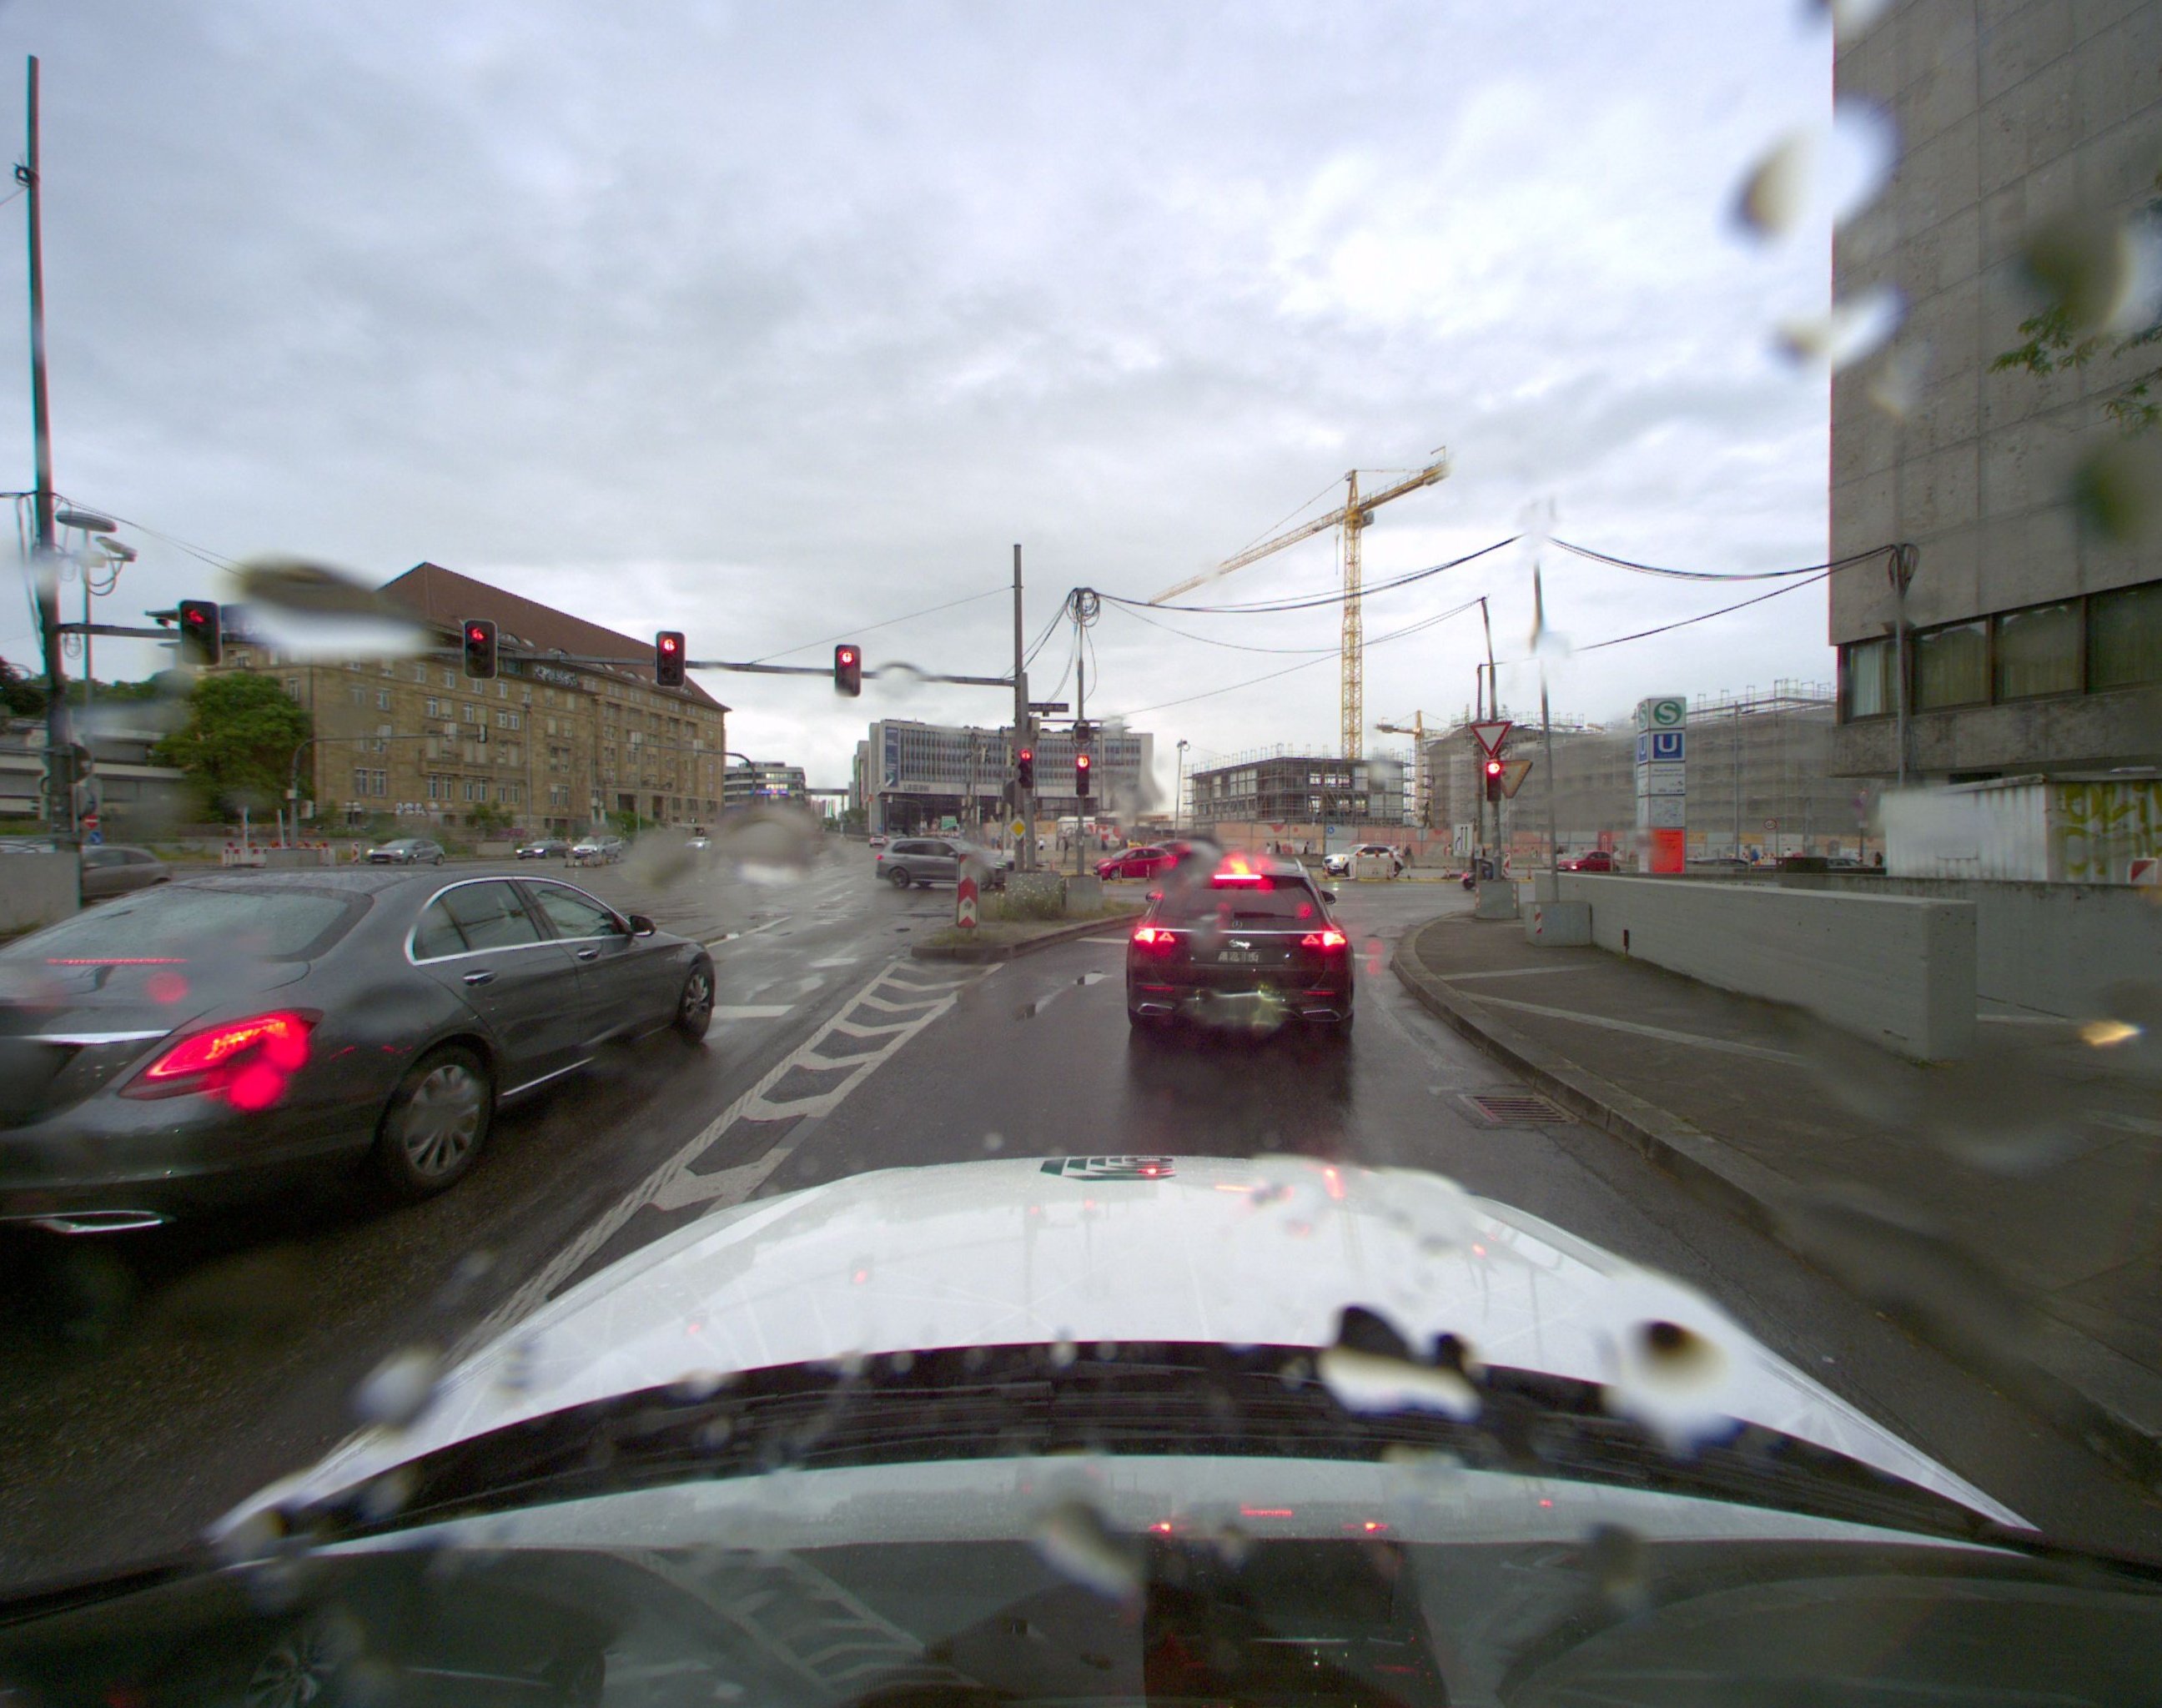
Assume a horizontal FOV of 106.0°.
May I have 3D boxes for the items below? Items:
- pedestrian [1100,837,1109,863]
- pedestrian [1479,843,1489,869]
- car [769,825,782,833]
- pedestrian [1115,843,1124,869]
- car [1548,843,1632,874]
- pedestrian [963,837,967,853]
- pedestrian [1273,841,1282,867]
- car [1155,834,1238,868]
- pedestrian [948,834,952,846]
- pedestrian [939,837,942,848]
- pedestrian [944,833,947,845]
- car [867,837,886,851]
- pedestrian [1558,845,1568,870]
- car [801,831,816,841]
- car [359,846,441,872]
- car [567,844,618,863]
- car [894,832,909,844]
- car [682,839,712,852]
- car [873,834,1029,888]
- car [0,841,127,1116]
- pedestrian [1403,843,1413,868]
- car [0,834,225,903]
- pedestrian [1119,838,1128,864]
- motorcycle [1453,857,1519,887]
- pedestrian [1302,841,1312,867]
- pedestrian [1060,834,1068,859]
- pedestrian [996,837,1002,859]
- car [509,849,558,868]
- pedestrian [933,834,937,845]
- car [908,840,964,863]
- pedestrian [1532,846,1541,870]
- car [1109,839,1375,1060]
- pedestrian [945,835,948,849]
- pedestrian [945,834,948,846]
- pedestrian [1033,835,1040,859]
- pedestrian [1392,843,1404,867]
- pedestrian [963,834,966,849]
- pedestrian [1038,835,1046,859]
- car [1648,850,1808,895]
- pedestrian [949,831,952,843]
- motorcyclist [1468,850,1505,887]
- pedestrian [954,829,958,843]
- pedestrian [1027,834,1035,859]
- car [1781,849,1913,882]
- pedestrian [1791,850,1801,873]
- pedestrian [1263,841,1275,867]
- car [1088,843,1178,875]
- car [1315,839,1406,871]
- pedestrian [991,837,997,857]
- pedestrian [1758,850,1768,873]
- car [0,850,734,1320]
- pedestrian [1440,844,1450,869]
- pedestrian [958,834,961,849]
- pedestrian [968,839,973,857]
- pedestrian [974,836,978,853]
[{"bbox_3d":[1.764,-0.297,60.173,0.570,1.898,0.364,0,-1,15],"label":"pedestrian"},{"bbox_3d":[29.785,0.173,60.184,0.574,1.898,0.361,1,-1,-9],"label":"pedestrian"},{"bbox_3d":[-79.751,-6.585,212.683,2.010,1.816,3.952,1,-1,-41],"label":"car"},{"bbox_3d":[2.825,0.167,59.830,0.571,1.898,0.363,0,-1,9],"label":"pedestrian"},{"bbox_3d":[29.203,0.258,46.750,3.995,1.708,1.989,1,-1,-16],"label":"car"},{"bbox_3d":[-13.693,-1.091,96.048,0.362,1.898,0.573,1,-1,-16],"label":"pedestrian"},{"bbox_3d":[14.631,0.012,60.565,0.574,1.898,0.361,1,-1,-9],"label":"pedestrian"},{"bbox_3d":[6.187,-0.142,43.793,3.993,1.734,1.990,1,-1,-15],"label":"car"},{"bbox_3d":[-20.141,-2.150,125.107,0.520,1.898,0.573,1,-1,-16],"label":"pedestrian"},{"bbox_3d":[-24.483,-1.917,141.858,0.362,1.898,0.573,1,-1,-16],"label":"pedestrian"},{"bbox_3d":[-22.375,-2.480,134.589,0.520,1.898,0.573,1,-1,-16],"label":"pedestrian"},{"bbox_3d":[-27.244,-1.308,108.426,2.002,1.640,3.970,1,-1,-23],"label":"car"},{"bbox_3d":[36.692,0.278,62.005,0.574,1.898,0.361,1,-1,-9],"label":"pedestrian"},{"bbox_3d":[-61.123,-4.068,182.613,2.009,2.014,3.955,1,-1,-38],"label":"car"},{"bbox_3d":[-36.027,0.271,43.213,1.625,1.260,3.983,1,-1,-12],"label":"car"},{"bbox_3d":[-34.853,0.000,58.215,1.768,1.260,4.178,1,-1,-11],"label":"car"},{"bbox_3d":[-26.566,-2.381,120.481,1.733,1.639,3.412,1,2,-20],"label":"car"},{"bbox_3d":[-39.169,-0.862,83.066,1.768,1.260,3.985,1,-1,-11],"label":"car"},{"bbox_3d":[-4.583,0.238,28.801,5.046,1.798,2.009,0,-1,17],"label":"car"},{"bbox_3d":[-6.747,0.651,2.509,1.883,1.515,4.995,1,-1,-4],"label":"car"},{"bbox_3d":[24.558,0.133,61.139,0.574,1.898,0.361,1,-1,-9],"label":"pedestrian"},{"bbox_3d":[-24.355,0.365,20.638,1.699,1.574,3.982,1,-1,-13],"label":"car"},{"bbox_3d":[3.037,-0.210,58.487,0.574,1.898,0.361,1,-1,-6],"label":"pedestrian"},{"bbox_3d":[15.370,0.674,30.924,2.132,1.108,0.849,1,-1,-5],"label":"motorcycle"},{"bbox_3d":[16.402,0.002,59.155,0.574,1.898,0.361,1,-1,-9],"label":"pedestrian"},{"bbox_3d":[-1.307,-0.567,62.669,0.362,1.898,0.572,1,-1,-20],"label":"pedestrian"},{"bbox_3d":[-6.998,-0.503,69.589,0.363,1.898,0.572,1,-1,-24],"label":"pedestrian"},{"bbox_3d":[-38.384,0.336,57.212,1.739,1.260,3.315,1,-1,-13],"label":"car"},{"bbox_3d":[-25.887,-2.565,144.495,0.520,1.898,0.573,1,-1,-16],"label":"pedestrian"},{"bbox_3d":[-9.963,-0.161,55.891,3.513,1.473,1.797,0,-1,35],"label":"car"},{"bbox_3d":[36.574,0.325,65.417,0.574,1.898,0.361,1,-1,-9],"label":"pedestrian"},{"bbox_3d":[1.405,0.703,7.866,1.881,1.544,4.001,1,-1,7],"label":"car"},{"bbox_3d":[-18.715,-1.616,113.401,0.362,1.898,0.573,1,-1,-16],"label":"pedestrian"},{"bbox_3d":[-21.725,-2.314,131.366,0.362,1.898,0.573,1,-1,-16],"label":"pedestrian"},{"bbox_3d":[-3.492,-0.569,63.910,0.364,1.898,0.570,0,-1,-37],"label":"pedestrian"},{"bbox_3d":[24.815,0.095,63.743,0.656,1.901,0.629,1,-1,-12],"label":"pedestrian"},{"bbox_3d":[-14.631,-1.542,102.374,0.362,1.898,0.573,1,-1,-16],"label":"pedestrian"},{"bbox_3d":[-3.045,-0.569,64.021,0.364,1.898,0.570,2,-1,-37],"label":"pedestrian"},{"bbox_3d":[22.994,0.649,29.080,4.079,1.507,2.003,1,-1,5],"label":"car"},{"bbox_3d":[-21.037,-2.681,131.619,0.362,1.898,0.573,1,-1,-16],"label":"pedestrian"},{"bbox_3d":[15.381,0.553,30.907,0.943,1.358,0.848,1,-1,-5],"label":"motorcyclist"},{"bbox_3d":[-18.008,-2.610,117.249,0.362,1.898,0.573,1,-1,-16],"label":"pedestrian"},{"bbox_3d":[-3.885,-0.582,63.791,0.363,1.898,0.570,1,-1,-33],"label":"pedestrian"},{"bbox_3d":[32.972,0.505,35.108,4.093,1.345,1.996,1,-1,-6],"label":"car"},{"bbox_3d":[59.614,0.626,67.925,0.574,1.898,0.361,1,-1,-9],"label":"pedestrian"},{"bbox_3d":[14.097,-0.011,61.146,0.656,1.901,0.629,1,-1,-12],"label":"pedestrian"},{"bbox_3d":[2.257,0.244,35.311,3.542,1.304,1.656,1,-1,-17],"label":"car"},{"bbox_3d":[14.323,0.083,41.715,4.050,1.552,1.988,1,-1,-18],"label":"car"},{"bbox_3d":[-8.356,-0.712,78.081,0.362,1.898,0.572,1,-1,-20],"label":"pedestrian"},{"bbox_3d":[57.325,0.607,68.476,0.574,1.898,0.361,1,-1,-9],"label":"pedestrian"},{"bbox_3d":[-3.751,0.725,4.789,1.780,1.402,4.480,1,1,-4],"label":"car"},{"bbox_3d":[28.033,0.195,62.701,0.575,1.898,0.361,1,-1,-11],"label":"pedestrian"},{"bbox_3d":[-15.232,-1.552,102.168,0.362,1.898,0.573,1,-1,-16],"label":"pedestrian"},{"bbox_3d":[-11.991,-0.677,88.454,0.362,1.898,0.573,1,-1,-16],"label":"pedestrian"},{"bbox_3d":[-12.426,-1.105,96.031,0.362,1.898,0.573,1,-1,-16],"label":"pedestrian"}]
